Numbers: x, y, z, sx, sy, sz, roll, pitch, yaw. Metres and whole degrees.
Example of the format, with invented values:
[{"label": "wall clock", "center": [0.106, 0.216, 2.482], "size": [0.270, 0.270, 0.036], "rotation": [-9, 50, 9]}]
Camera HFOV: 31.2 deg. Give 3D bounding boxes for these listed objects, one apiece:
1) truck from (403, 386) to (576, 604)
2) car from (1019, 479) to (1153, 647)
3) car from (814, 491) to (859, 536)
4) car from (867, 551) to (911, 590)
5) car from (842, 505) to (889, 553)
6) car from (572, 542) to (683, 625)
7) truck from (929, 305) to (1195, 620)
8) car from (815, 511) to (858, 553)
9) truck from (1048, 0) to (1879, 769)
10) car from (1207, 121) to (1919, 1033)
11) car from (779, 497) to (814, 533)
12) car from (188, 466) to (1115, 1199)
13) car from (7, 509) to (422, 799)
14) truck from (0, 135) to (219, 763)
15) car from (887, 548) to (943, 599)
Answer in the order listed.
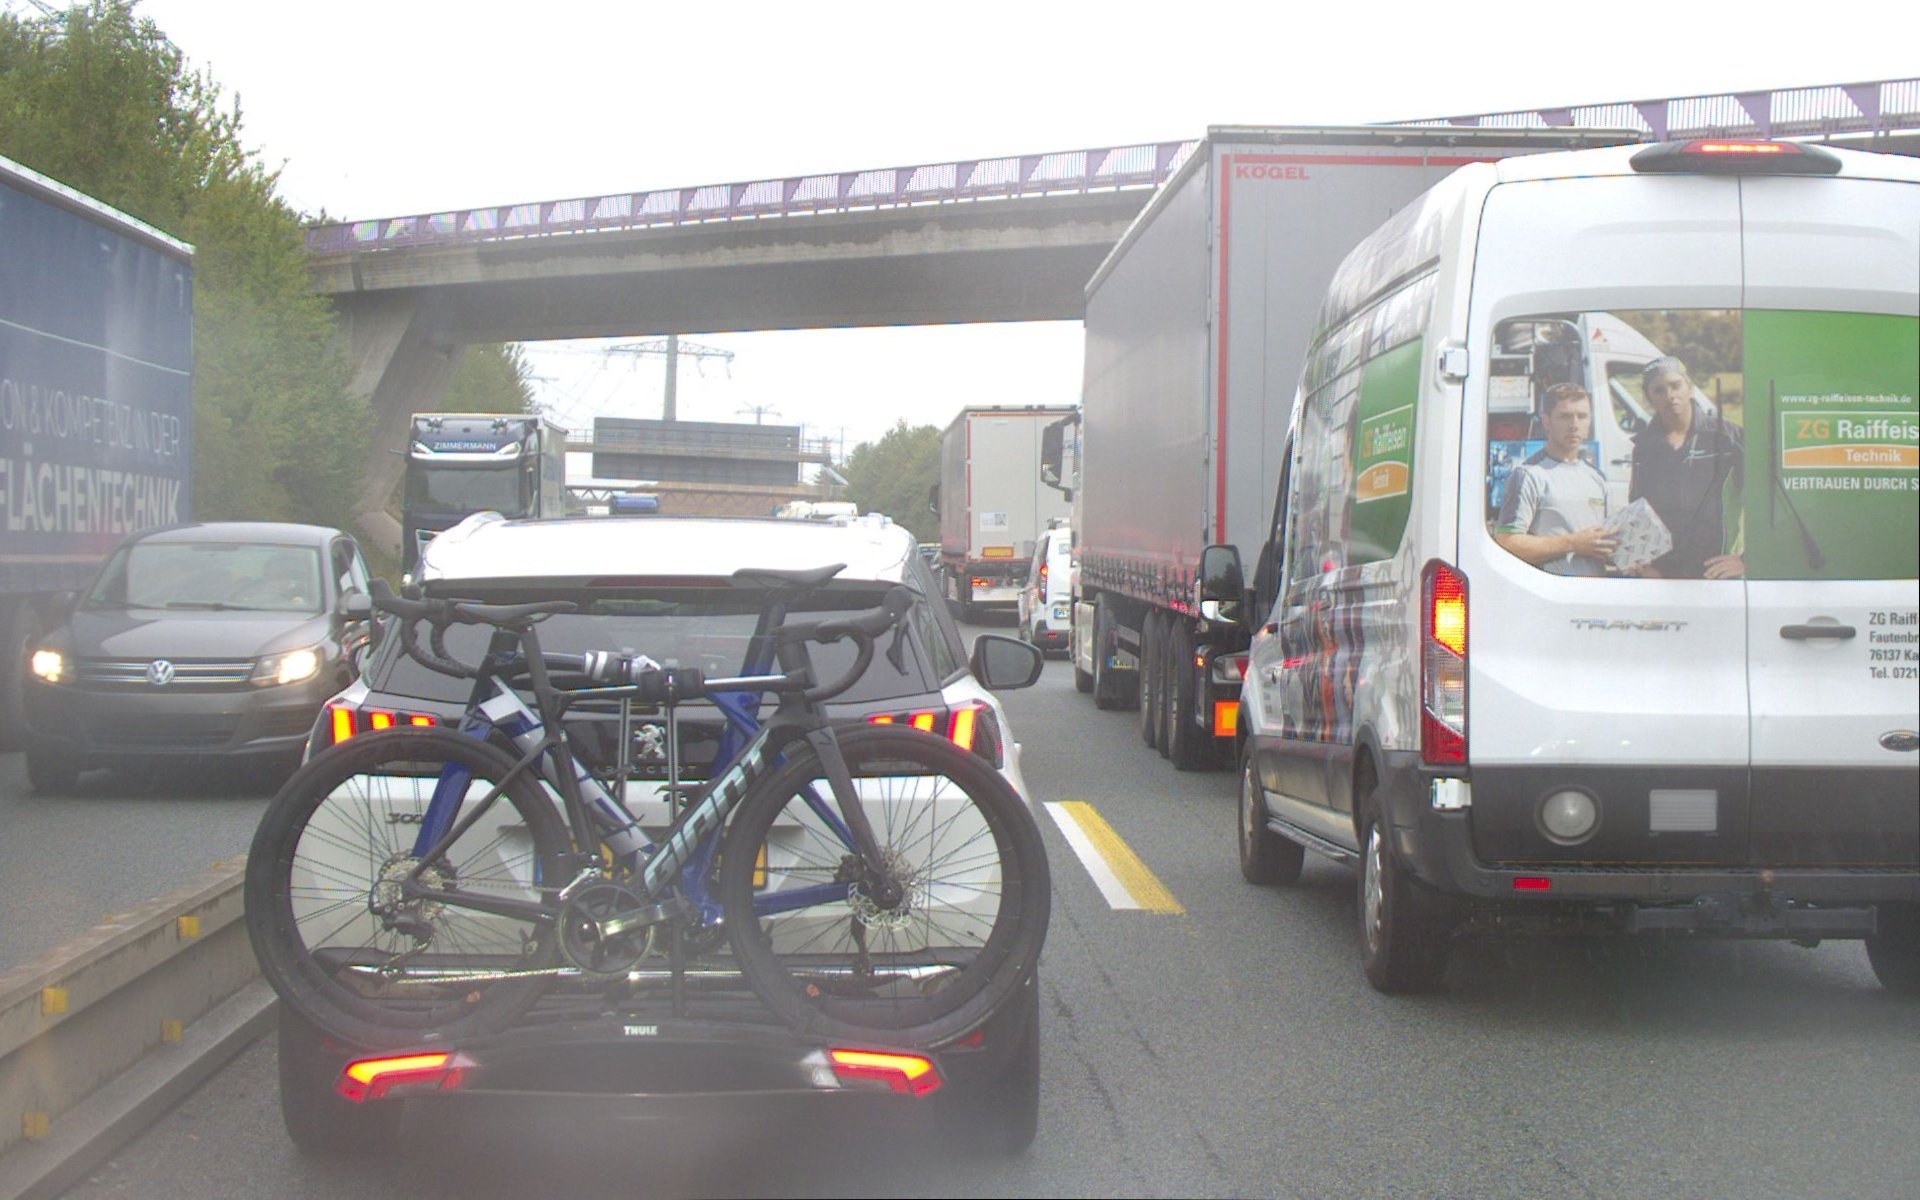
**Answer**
[{"label": "truck", "center": [-9.501, -2.051, 70.333], "size": [2.464, 4.109, 10.089], "rotation": [1, 1, -2]}, {"label": "car", "center": [1.673, -0.503, 46.986], "size": [1.670, 2.173, 4.535], "rotation": [1, 1, 0]}, {"label": "car", "center": [-6.530, -4.557, 181.973], "size": [2.239, 2.299, 4.572], "rotation": [1, 1, -1]}, {"label": "car", "center": [-2.730, -1.141, 132.578], "size": [1.638, 1.492, 3.666], "rotation": [1, 1, -1]}, {"label": "car", "center": [-4.076, -3.087, 149.471], "size": [1.993, 2.007, 4.000], "rotation": [1, 1, -1]}, {"label": "car", "center": [-6.205, -0.316, 64.483], "size": [1.938, 1.489, 4.001], "rotation": [1, 1, -4]}, {"label": "truck", "center": [1.931, -2.591, 72.539], "size": [4.743, 5.654, 20.376], "rotation": [1, 1, 0]}, {"label": "car", "center": [-6.046, -3.333, 168.921], "size": [1.993, 2.007, 4.000], "rotation": [1, 1, -1]}, {"label": "truck", "center": [3.148, -1.988, 29.844], "size": [3.979, 5.654, 20.377], "rotation": [1, 1, -1]}, {"label": "car", "center": [2.294, -0.093, 13.186], "size": [2.144, 2.667, 6.117], "rotation": [1, 1, -1]}, {"label": "car", "center": [-10.138, -5.278, 213.395], "size": [1.993, 2.119, 4.527], "rotation": [1, 1, -1]}, {"label": "car", "center": [-0.592, 0.541, 9.087], "size": [1.810, 1.632, 4.635], "rotation": [1, 1, 0]}, {"label": "car", "center": [-4.493, 0.283, 21.302], "size": [1.783, 1.604, 4.104], "rotation": [1, 1, -2]}, {"label": "truck", "center": [-7.655, -0.986, 21.300], "size": [2.766, 4.109, 16.928], "rotation": [1, 1, -1]}, {"label": "car", "center": [-1.353, -0.795, 103.920], "size": [1.638, 1.492, 3.666], "rotation": [1, 1, -1]}]
